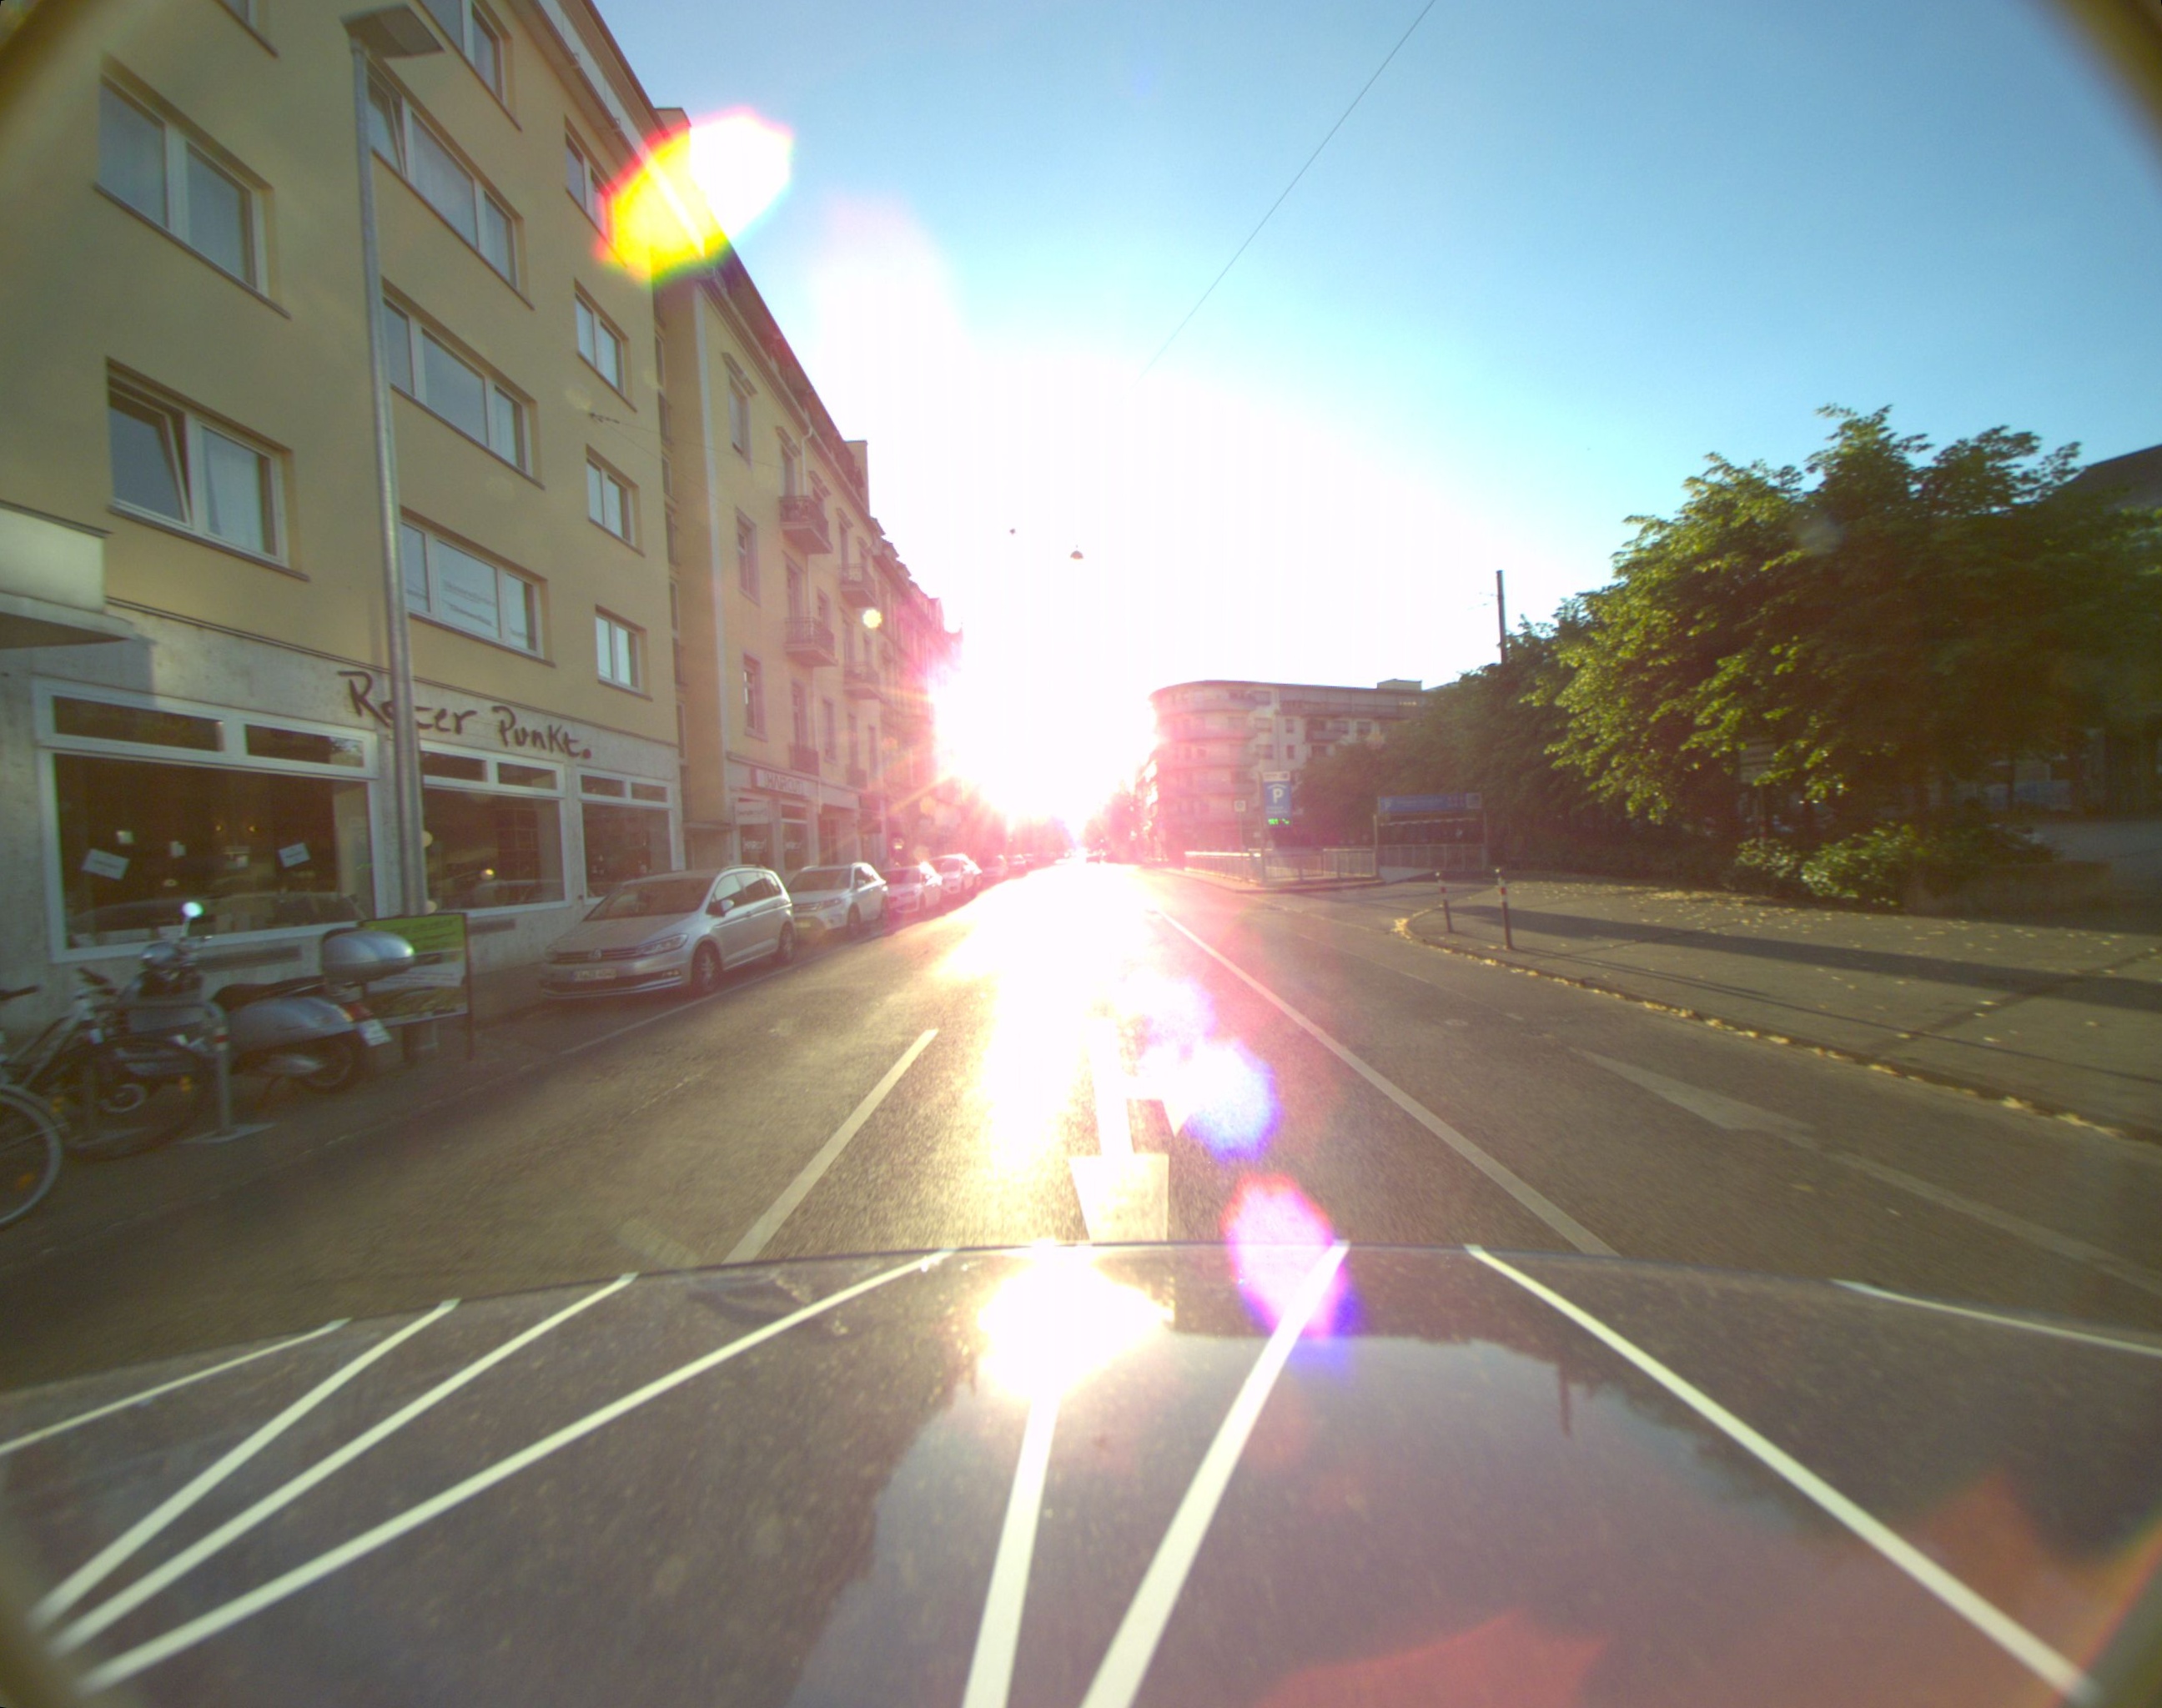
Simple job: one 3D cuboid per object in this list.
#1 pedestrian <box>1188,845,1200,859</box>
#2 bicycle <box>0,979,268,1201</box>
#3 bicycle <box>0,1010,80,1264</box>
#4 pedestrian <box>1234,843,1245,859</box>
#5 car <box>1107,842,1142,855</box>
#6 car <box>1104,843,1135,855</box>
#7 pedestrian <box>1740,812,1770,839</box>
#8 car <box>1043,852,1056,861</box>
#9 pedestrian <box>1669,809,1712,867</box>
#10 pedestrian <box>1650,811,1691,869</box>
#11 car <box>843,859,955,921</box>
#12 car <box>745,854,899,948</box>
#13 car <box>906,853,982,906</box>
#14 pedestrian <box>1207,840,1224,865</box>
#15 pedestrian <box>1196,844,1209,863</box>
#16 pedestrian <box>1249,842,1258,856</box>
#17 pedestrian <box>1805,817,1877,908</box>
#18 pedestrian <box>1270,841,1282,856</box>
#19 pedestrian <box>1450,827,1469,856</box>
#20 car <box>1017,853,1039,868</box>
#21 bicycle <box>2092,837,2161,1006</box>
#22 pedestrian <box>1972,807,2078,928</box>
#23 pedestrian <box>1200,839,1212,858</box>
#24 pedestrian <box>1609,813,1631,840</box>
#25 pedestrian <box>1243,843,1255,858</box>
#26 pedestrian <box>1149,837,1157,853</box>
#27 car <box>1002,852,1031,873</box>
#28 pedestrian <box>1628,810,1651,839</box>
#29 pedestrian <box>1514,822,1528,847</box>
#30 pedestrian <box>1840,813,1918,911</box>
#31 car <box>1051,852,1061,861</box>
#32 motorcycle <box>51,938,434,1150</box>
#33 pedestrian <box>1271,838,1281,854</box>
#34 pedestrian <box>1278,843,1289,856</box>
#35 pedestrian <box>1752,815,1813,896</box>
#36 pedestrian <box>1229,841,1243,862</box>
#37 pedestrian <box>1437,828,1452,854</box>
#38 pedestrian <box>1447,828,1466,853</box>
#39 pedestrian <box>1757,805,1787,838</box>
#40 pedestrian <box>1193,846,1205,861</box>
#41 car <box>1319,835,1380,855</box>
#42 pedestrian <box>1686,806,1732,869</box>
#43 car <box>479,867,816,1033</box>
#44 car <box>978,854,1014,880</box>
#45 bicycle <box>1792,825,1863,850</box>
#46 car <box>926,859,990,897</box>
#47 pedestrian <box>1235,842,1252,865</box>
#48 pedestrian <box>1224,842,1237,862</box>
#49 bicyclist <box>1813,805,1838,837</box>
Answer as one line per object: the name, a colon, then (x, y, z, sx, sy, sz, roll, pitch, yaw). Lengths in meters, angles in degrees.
pedestrian: (11.228, -0.196, 75.472, 0.684, 1.274, 0.969, -2, 3, 41)
bicycle: (-6.167, 1.390, 4.526, 1.889, 1.106, 0.593, -2, 0, -3)
bicycle: (-5.929, 1.383, 3.409, 1.889, 1.106, 0.593, -3, 2, -3)
pedestrian: (15.981, -0.321, 76.625, 0.760, 1.528, 0.712, -3, 4, -27)
car: (5.706, -0.689, 100.829, 4.442, 1.532, 1.817, -3, 1, -1)
car: (5.207, -0.621, 103.126, 3.998, 1.412, 1.999, -3, 0, -3)
pedestrian: (35.839, -1.527, 40.397, 1.269, 1.372, 0.736, -3, 1, -28)
car: (-5.289, 0.413, 127.809, 1.999, 1.543, 3.999, -3, 0, -1)
pedestrian: (21.697, -0.570, 27.068, 0.912, 2.002, 0.920, -3, 1, 23)
pedestrian: (21.208, -0.493, 27.358, 0.912, 2.002, 0.920, -3, 1, 23)
car: (-5.229, 0.999, 22.598, 2.021, 1.534, 4.870, -3, -1, 1)
car: (-5.608, 0.951, 17.101, 1.872, 1.751, 4.409, -3, -1, 0)
car: (-4.975, 0.905, 28.213, 1.887, 1.734, 4.660, -3, -1, 0)
pedestrian: (10.644, -0.104, 60.145, 0.891, 1.872, 0.983, -3, 0, -21)
pedestrian: (11.749, -0.054, 73.685, 0.870, 1.783, 0.850, -3, 0, -21)
pedestrian: (17.751, -0.499, 78.118, 0.562, 1.426, 0.666, -3, 3, -26)
pedestrian: (16.705, 0.179, 16.726, 0.803, 1.937, 0.731, -3, 1, 13)
pedestrian: (20.422, -0.541, 79.511, 0.851, 1.527, 0.716, -3, -1, 45)
pedestrian: (24.903, -0.826, 49.994, 0.781, 1.864, 0.714, -3, 0, -7)
car: (-5.583, 0.684, 80.706, 1.998, 1.511, 4.000, -2, 0, 1)
bicycle: (9.517, 0.465, 5.540, 2.506, 1.276, 0.817, -3, 1, 21)
pedestrian: (15.776, 0.215, 12.720, 0.803, 1.937, 0.731, -3, 1, 13)
pedestrian: (11.977, -0.553, 72.764, 0.737, 1.783, 0.811, -3, 0, -21)
pedestrian: (41.122, -2.110, 57.978, 1.067, 2.002, 0.832, -4, 1, -21)
pedestrian: (17.202, -0.360, 77.752, 0.680, 1.527, 0.851, -3, 0, -27)
pedestrian: (8.814, -1.086, 93.127, 0.730, 1.937, 0.740, -3, 1, -5)
car: (-5.261, 0.704, 62.282, 1.999, 1.526, 4.682, -3, -1, -1)
pedestrian: (33.773, -1.789, 45.960, 0.922, 1.716, 0.701, -3, 1, -25)
pedestrian: (27.496, -1.206, 47.509, 0.678, 1.533, 0.594, -3, 0, 33)
pedestrian: (16.407, 0.169, 15.644, 0.803, 1.937, 0.731, -3, 1, 13)
car: (-5.039, 0.505, 153.199, 1.756, 1.543, 4.286, -3, 0, -1)
motorcycle: (-5.842, 1.292, 5.387, 1.817, 1.256, 0.716, -2, 1, -2)
pedestrian: (20.972, -0.844, 81.666, 0.669, 1.710, 0.717, -3, 0, -25)
pedestrian: (21.049, -0.423, 78.901, 0.850, 1.271, 0.715, -1, 4, 44)
pedestrian: (17.238, 0.034, 18.693, 0.803, 1.937, 0.731, -3, 1, 13)
pedestrian: (14.407, -0.201, 70.634, 0.853, 1.865, 0.713, -3, 0, -27)
pedestrian: (24.580, -0.860, 51.411, 0.686, 1.735, 0.717, -3, -1, 37)
pedestrian: (28.508, -1.028, 57.656, 1.124, 1.808, 0.701, -3, 1, -25)
pedestrian: (36.130, -1.711, 39.710, 1.269, 1.638, 0.707, -3, 1, -27)
pedestrian: (11.629, -0.055, 74.778, 0.768, 1.374, 0.840, -1, 3, 41)
car: (22.330, -0.723, 63.314, 2.110, 1.422, 4.440, -2, -1, -30)
pedestrian: (20.820, -0.553, 25.210, 0.912, 2.002, 0.920, -3, 1, 23)
car: (-5.615, 1.100, 10.784, 1.999, 1.603, 4.802, -3, 1, -1)
car: (-5.433, 0.832, 49.020, 1.704, 1.575, 4.000, -2, -1, 1)
bicycle: (35.815, -0.785, 36.517, 2.322, 1.095, 0.953, -2, 1, 38)
car: (-5.463, 1.016, 34.375, 1.998, 1.426, 4.850, -3, 0, 1)
pedestrian: (12.993, -0.055, 60.609, 0.982, 1.783, 0.892, -3, -1, 31)
pedestrian: (13.814, -0.222, 70.130, 0.883, 1.792, 0.713, -3, 0, -20)
bicyclist: (35.768, -1.589, 36.528, 0.751, 1.501, 1.384, -2, 1, 41)
